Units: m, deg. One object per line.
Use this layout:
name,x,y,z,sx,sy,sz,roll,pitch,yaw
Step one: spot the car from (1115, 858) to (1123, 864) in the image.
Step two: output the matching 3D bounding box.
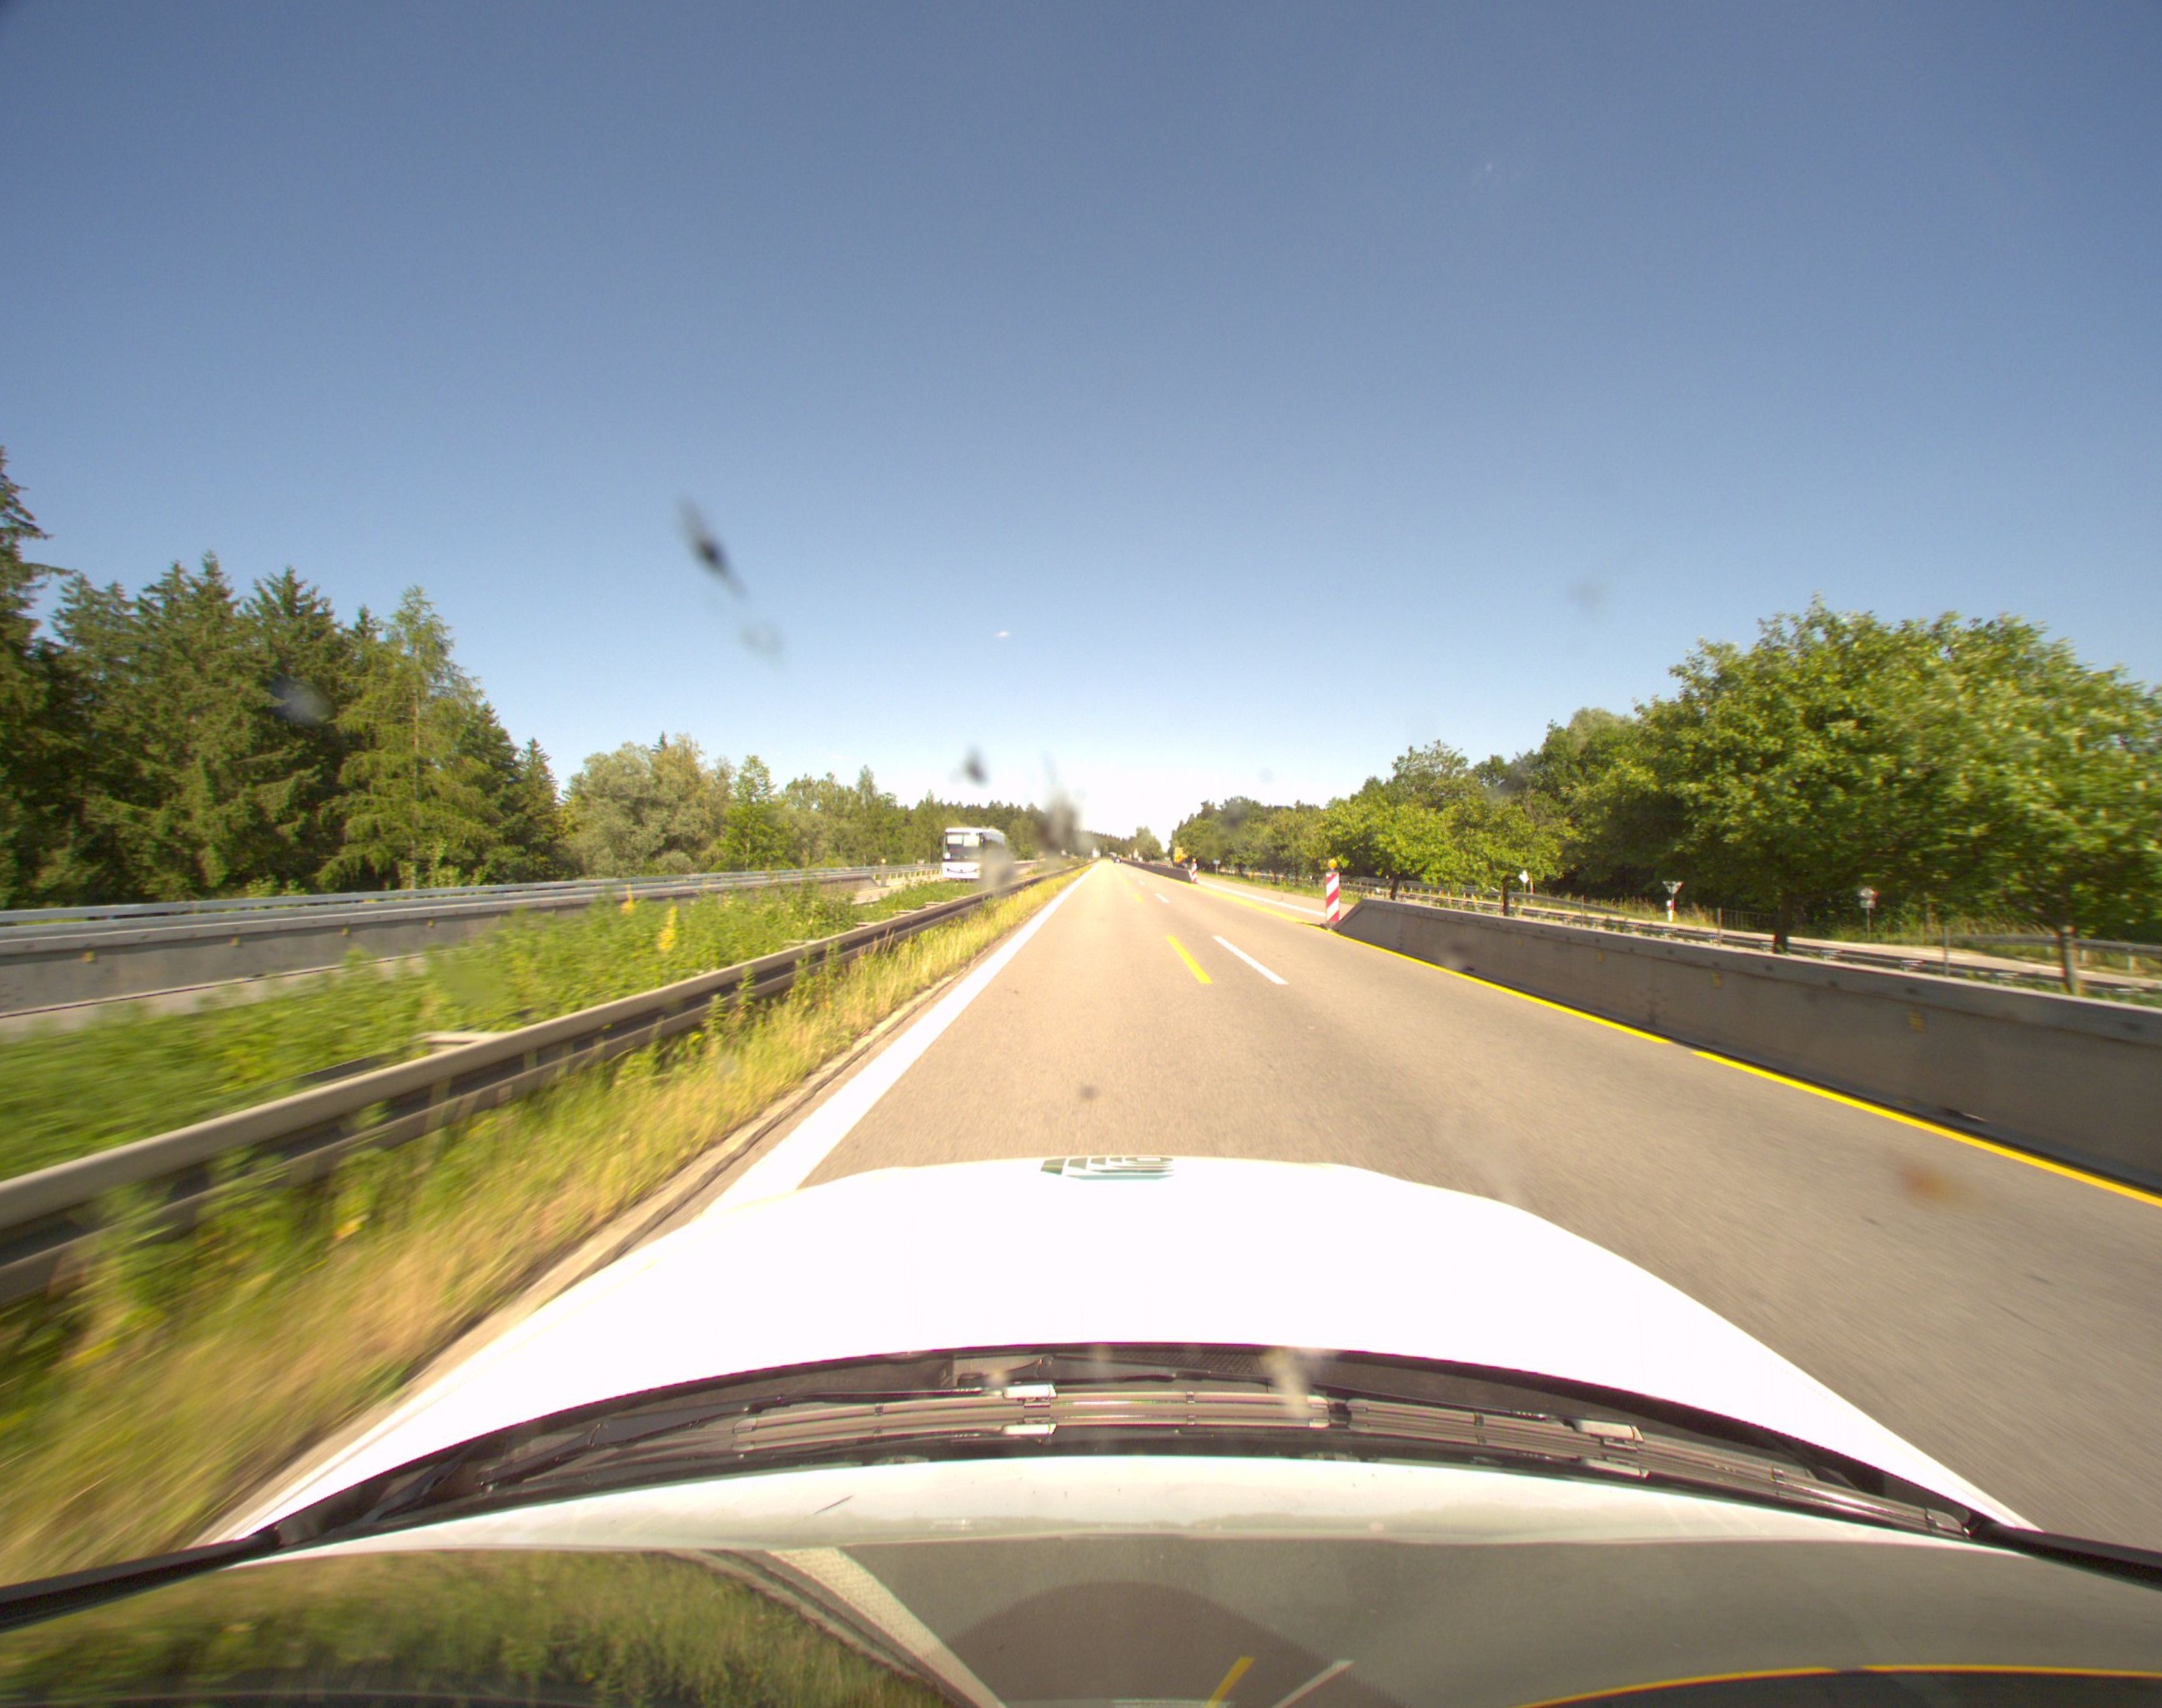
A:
car,9.371,1.840,201.649,1.737,1.466,4.295,0,0,2

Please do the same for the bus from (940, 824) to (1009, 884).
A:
bus,-7.143,-0.002,56.675,2.871,3.671,12.919,0,0,1

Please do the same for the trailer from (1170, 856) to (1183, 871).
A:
trailer,12.175,1.165,104.189,1.121,1.874,3.999,0,0,0
